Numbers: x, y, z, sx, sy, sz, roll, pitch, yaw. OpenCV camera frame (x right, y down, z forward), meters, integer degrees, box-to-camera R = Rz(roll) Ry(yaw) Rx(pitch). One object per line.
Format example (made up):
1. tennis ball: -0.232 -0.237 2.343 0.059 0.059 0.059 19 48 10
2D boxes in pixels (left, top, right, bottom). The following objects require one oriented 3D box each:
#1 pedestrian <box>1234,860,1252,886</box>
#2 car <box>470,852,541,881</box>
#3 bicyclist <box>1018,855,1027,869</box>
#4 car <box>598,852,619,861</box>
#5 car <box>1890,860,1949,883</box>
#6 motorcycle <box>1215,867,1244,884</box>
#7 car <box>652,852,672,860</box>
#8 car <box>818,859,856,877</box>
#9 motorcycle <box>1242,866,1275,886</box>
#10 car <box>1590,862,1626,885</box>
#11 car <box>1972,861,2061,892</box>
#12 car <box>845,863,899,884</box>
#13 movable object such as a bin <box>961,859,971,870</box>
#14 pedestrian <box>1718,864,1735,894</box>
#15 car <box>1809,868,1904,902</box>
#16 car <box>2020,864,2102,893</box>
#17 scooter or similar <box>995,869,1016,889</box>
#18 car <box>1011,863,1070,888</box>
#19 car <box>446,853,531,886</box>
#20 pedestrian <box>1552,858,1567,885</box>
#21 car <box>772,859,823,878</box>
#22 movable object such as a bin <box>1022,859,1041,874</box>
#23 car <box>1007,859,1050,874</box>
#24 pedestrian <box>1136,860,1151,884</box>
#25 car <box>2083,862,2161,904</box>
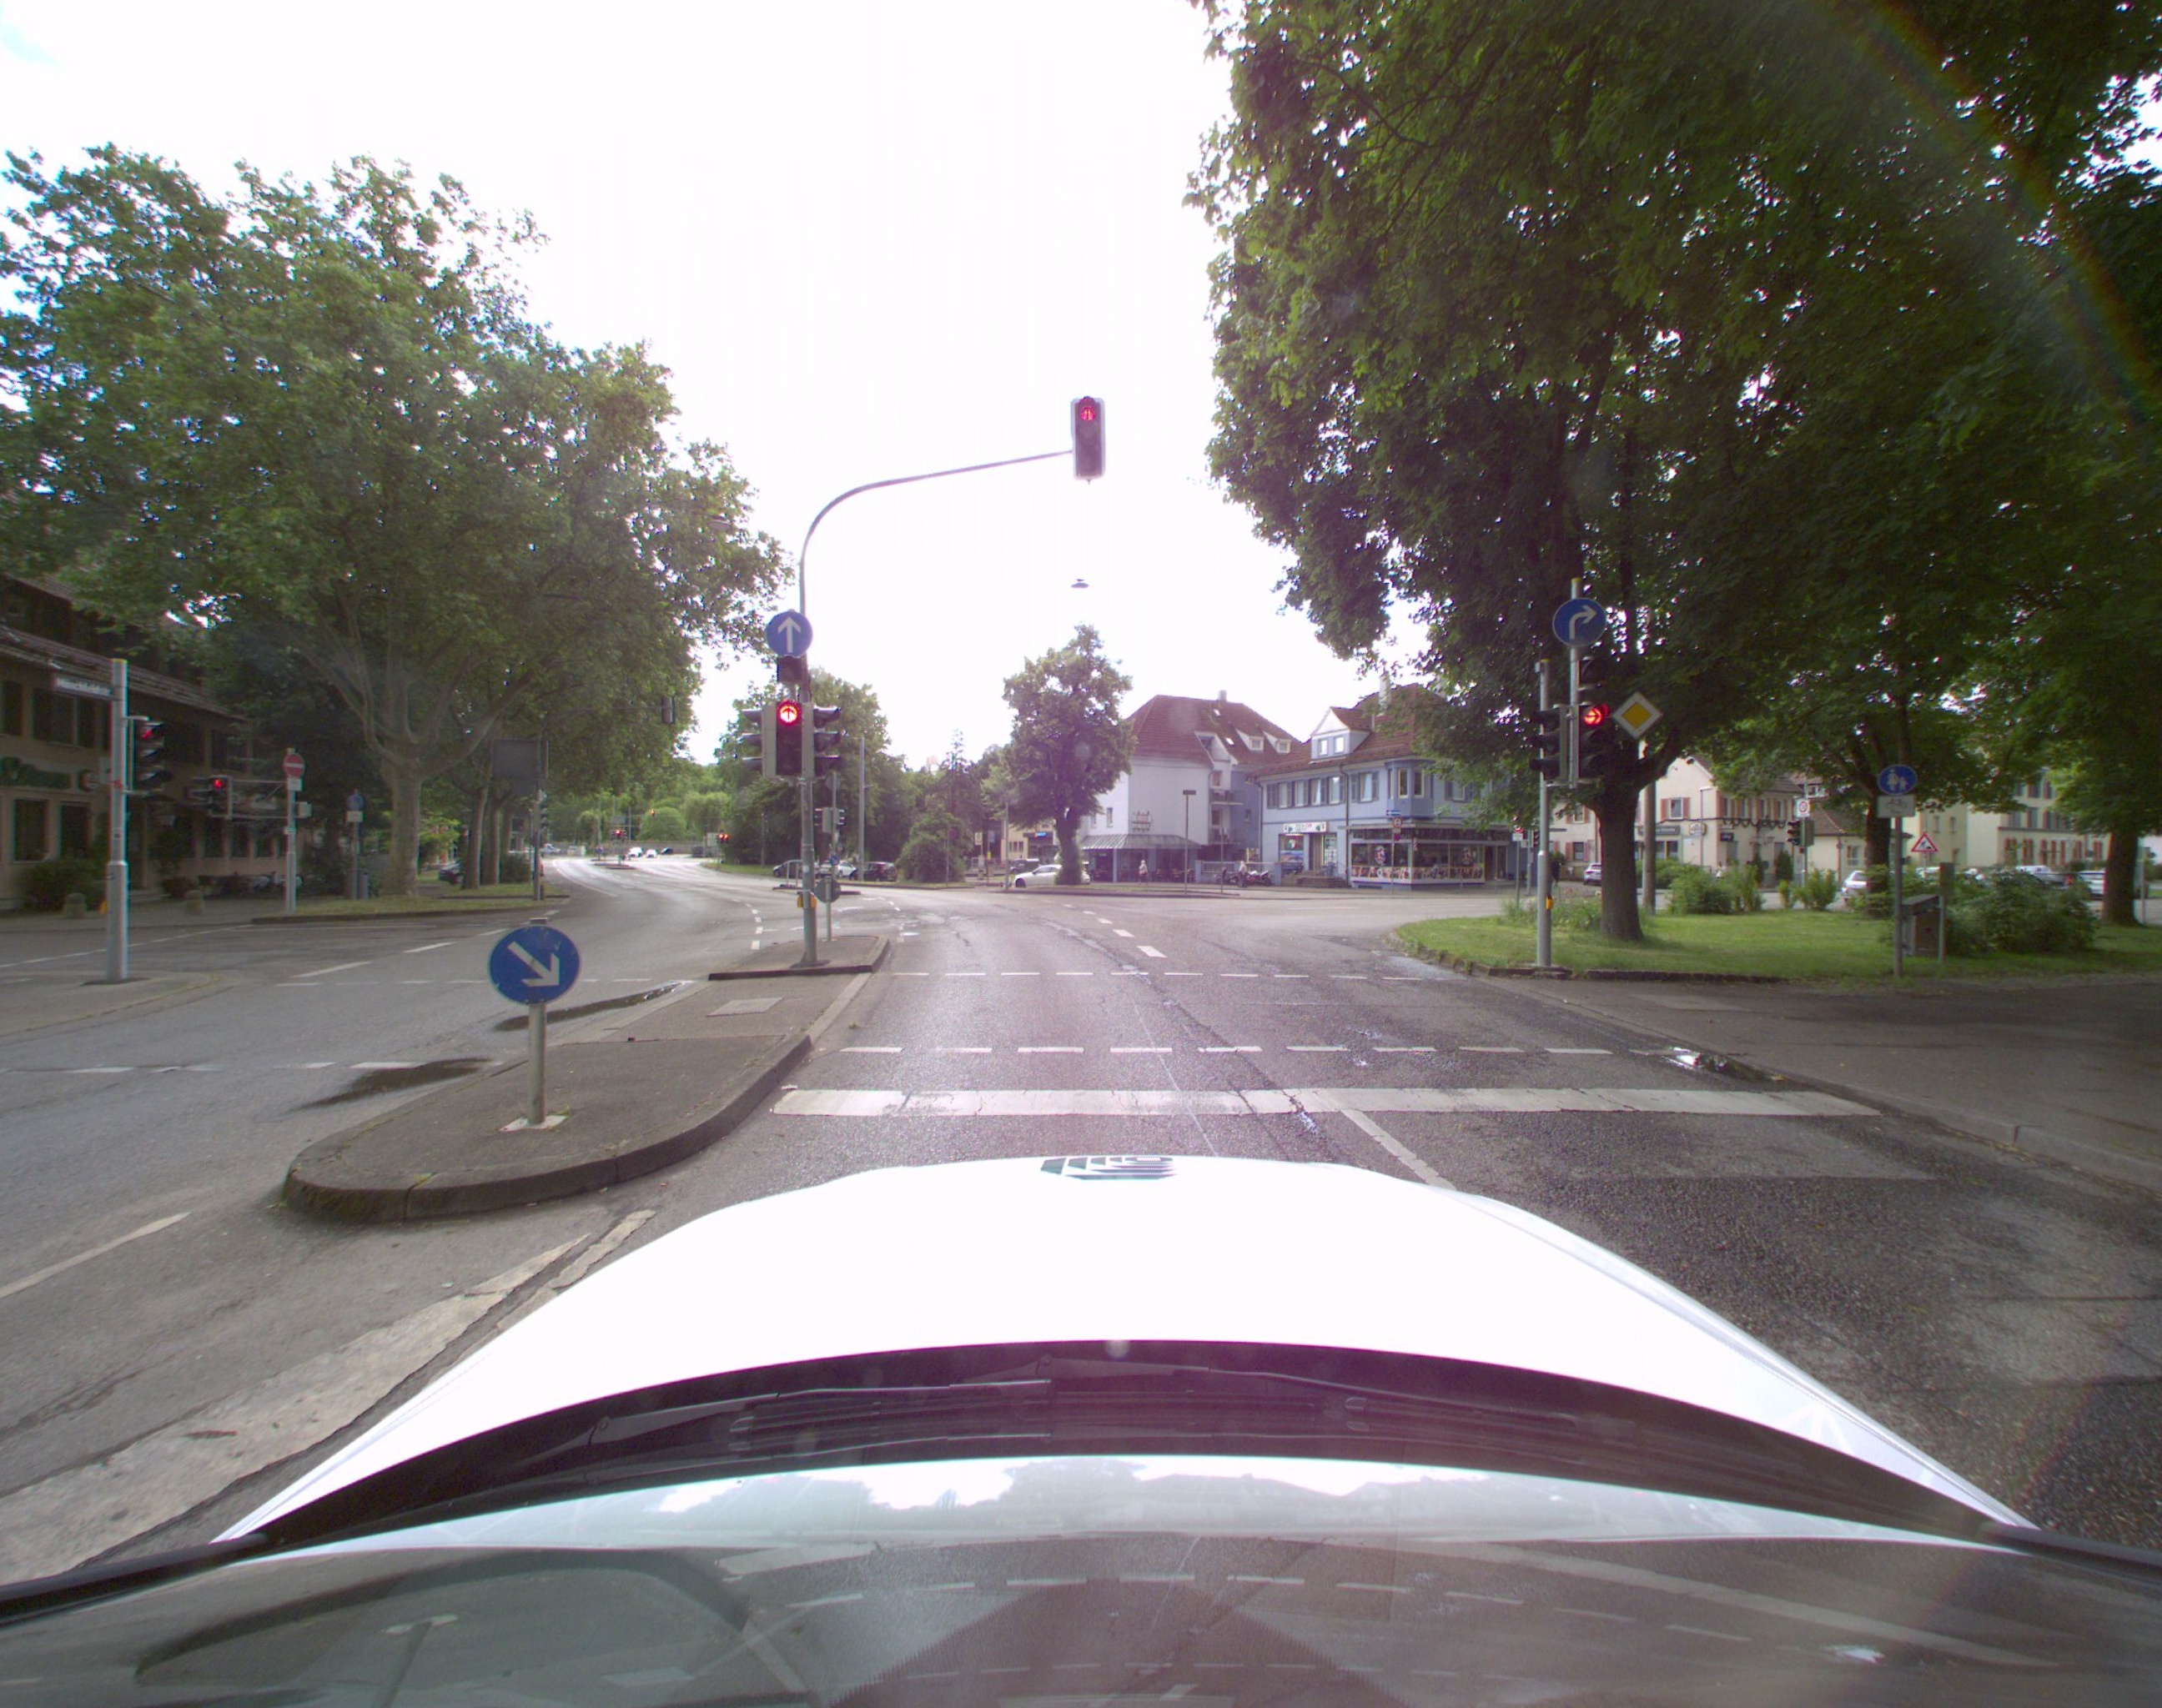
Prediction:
1. pedestrian: 9.463 1.105 47.566 0.759 1.545 0.682 -1 -1 41
2. car: -35.484 0.761 50.287 3.461 1.742 1.557 0 -1 -31
3. bicyclist: -6.062 0.837 84.792 0.592 1.541 0.744 0 -1 26
4. car: -106.167 0.516 183.036 4.011 2.014 1.981 0 -1 -29
5. car: 55.116 1.130 53.526 4.007 1.420 1.544 0 0 -26
6. motorcycle: 9.114 1.317 50.078 0.699 1.064 1.617 0 -1 -44
7. car: -95.487 0.458 185.612 4.011 2.014 1.981 0 -1 -29
8. car: -20.078 1.137 67.189 1.534 1.464 3.407 0 0 13
9. motorcycle: 10.535 1.291 48.263 1.777 1.121 0.699 0 -1 40
10. car: 32.603 1.188 50.339 1.481 1.369 3.198 -1 -1 40
11. car: 42.215 0.977 36.750 3.510 1.321 1.549 0 0 -21
12. car: -13.906 1.271 54.207 3.549 1.394 1.481 0 -1 34
13. movable object such as a bin: -12.218 1.129 86.641 0.953 1.115 0.381 0 -1 -19
14. pedestrian: 36.171 1.377 45.616 0.612 1.649 0.605 0 -1 -37
15. car: 31.962 1.253 33.567 3.511 1.321 1.549 0 0 -22
16. car: 47.003 1.168 39.056 3.511 1.321 1.549 0 0 -22
17. scooter or similar: -3.978 1.293 42.883 0.413 1.011 1.575 -1 -1 23
18. car: -2.308 1.205 46.240 3.134 1.354 1.448 0 -1 36
19. car: -31.002 0.788 42.721 3.461 1.641 1.557 0 -1 -31
20. pedestrian: 27.385 0.976 46.599 0.459 1.517 0.584 0 -1 -19
21. car: -22.437 1.120 64.487 3.520 1.464 1.591 0 0 14
22. movable object such as a bin: -4.521 1.141 74.250 1.447 1.409 0.959 0 -1 -25
23. car: -4.879 1.142 76.157 3.752 1.345 1.422 0 0 -25
24. pedestrian: 3.965 1.142 51.907 0.699 1.545 0.682 -1 -1 42
25. car: 52.830 1.437 41.122 4.004 2.014 1.770 0 -1 -23
